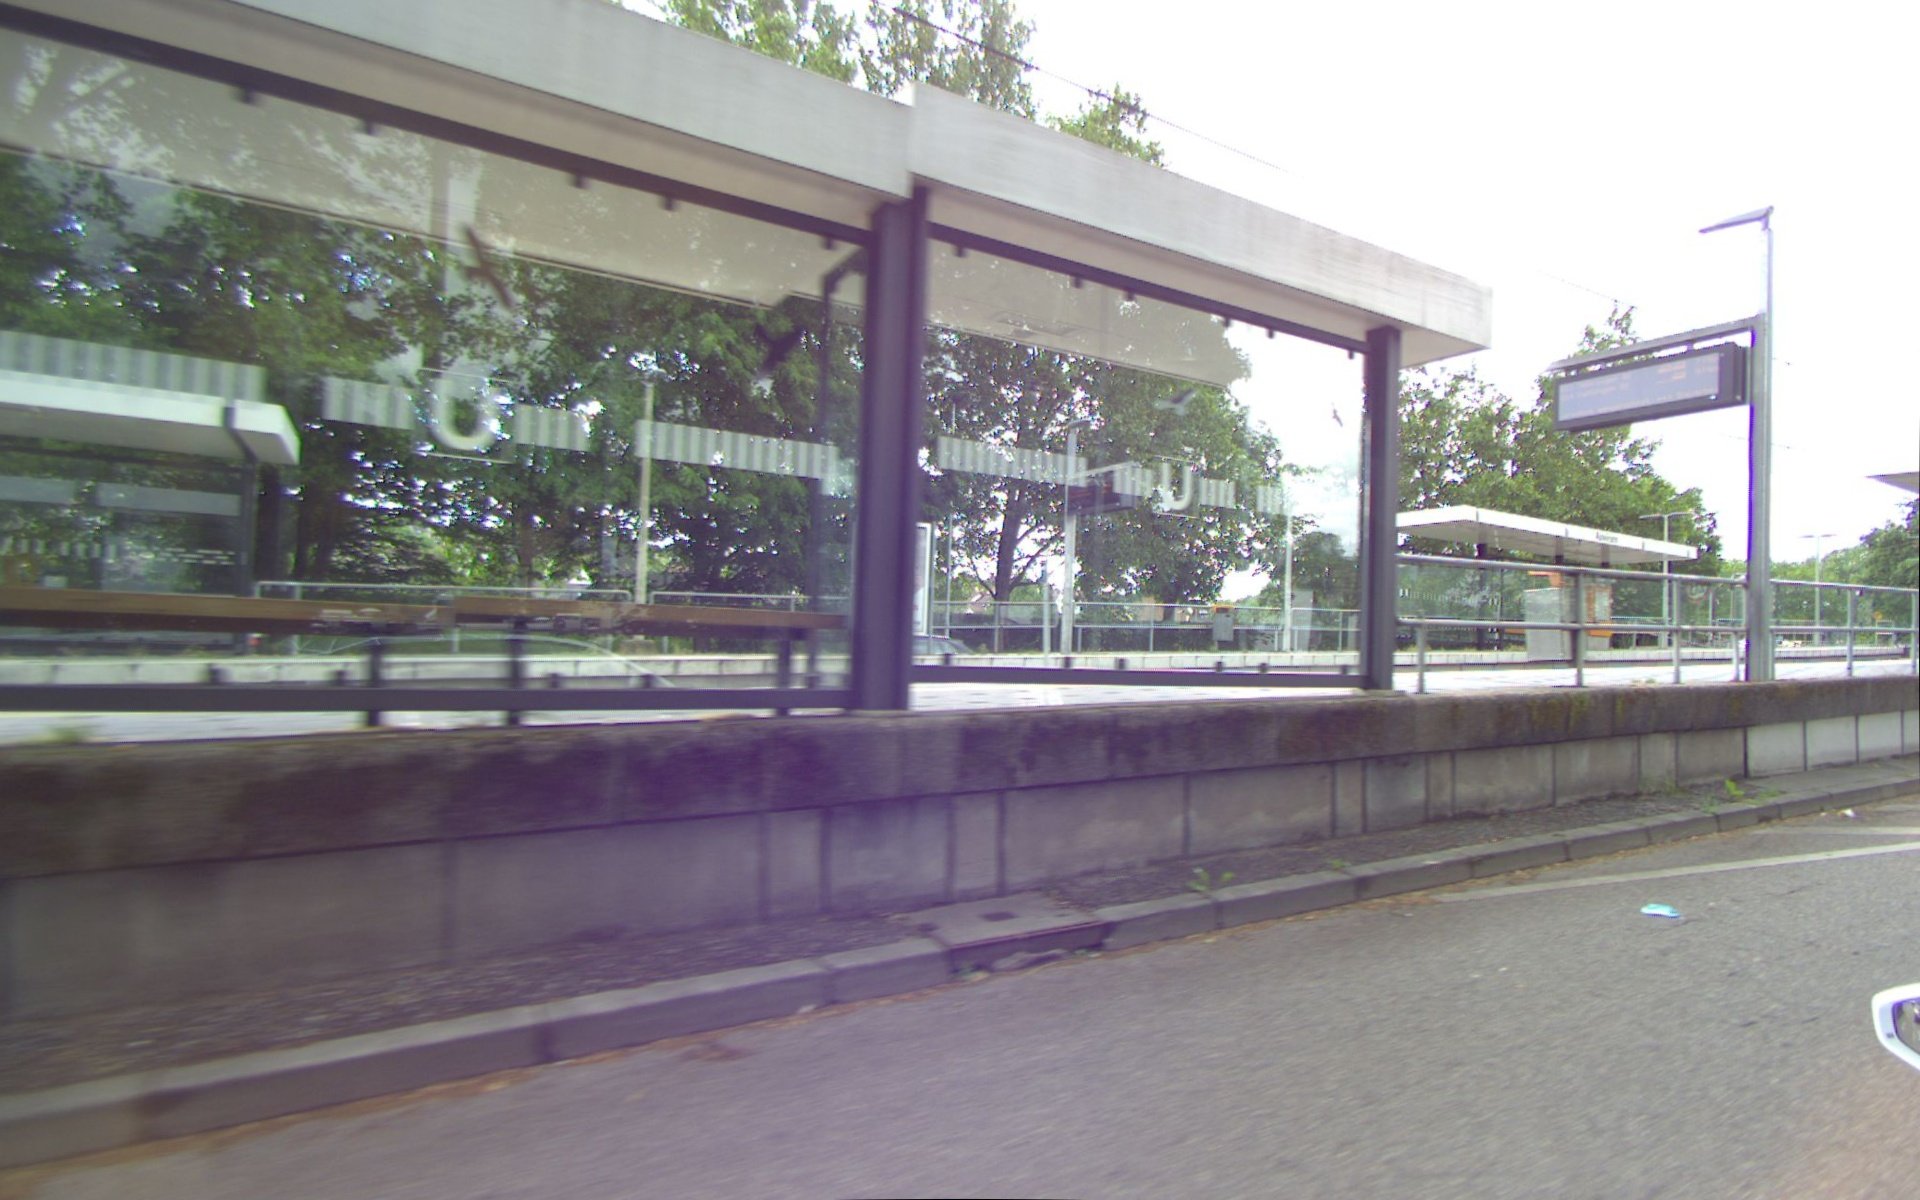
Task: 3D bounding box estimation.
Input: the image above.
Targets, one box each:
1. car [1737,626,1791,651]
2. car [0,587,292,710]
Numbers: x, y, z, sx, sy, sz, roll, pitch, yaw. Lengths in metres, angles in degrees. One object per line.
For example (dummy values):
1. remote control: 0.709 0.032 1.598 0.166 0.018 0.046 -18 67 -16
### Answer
1. car: 60.051 2.840 75.101 1.581 1.728 3.393 3 0 7
2. car: -13.228 0.741 15.603 4.571 1.697 1.983 3 0 -31
